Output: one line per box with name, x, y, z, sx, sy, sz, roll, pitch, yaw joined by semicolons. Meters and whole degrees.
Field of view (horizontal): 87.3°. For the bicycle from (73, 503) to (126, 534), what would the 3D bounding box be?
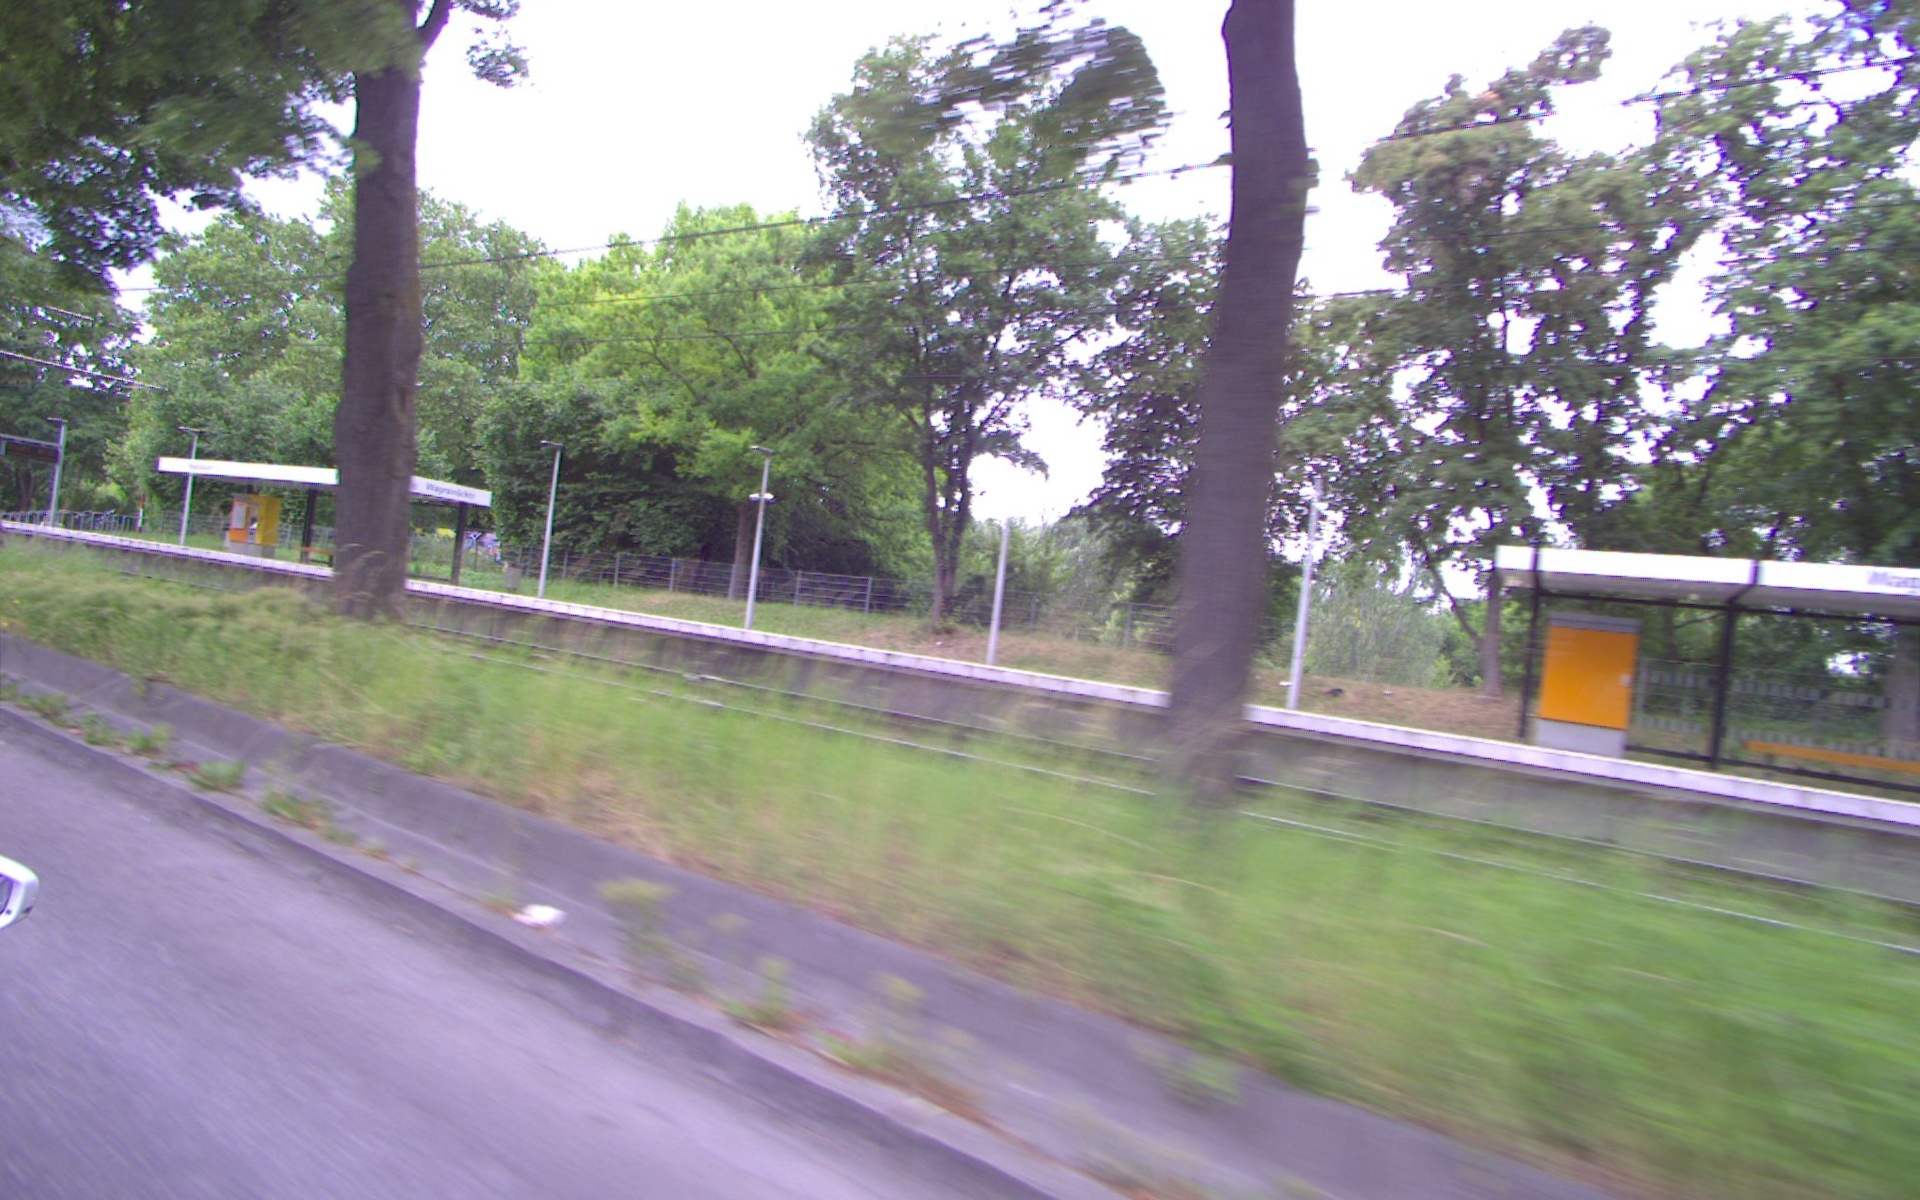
bicycle;-35.406;-3.335;41.396;0.442;0.984;1.514;7;-3;24
